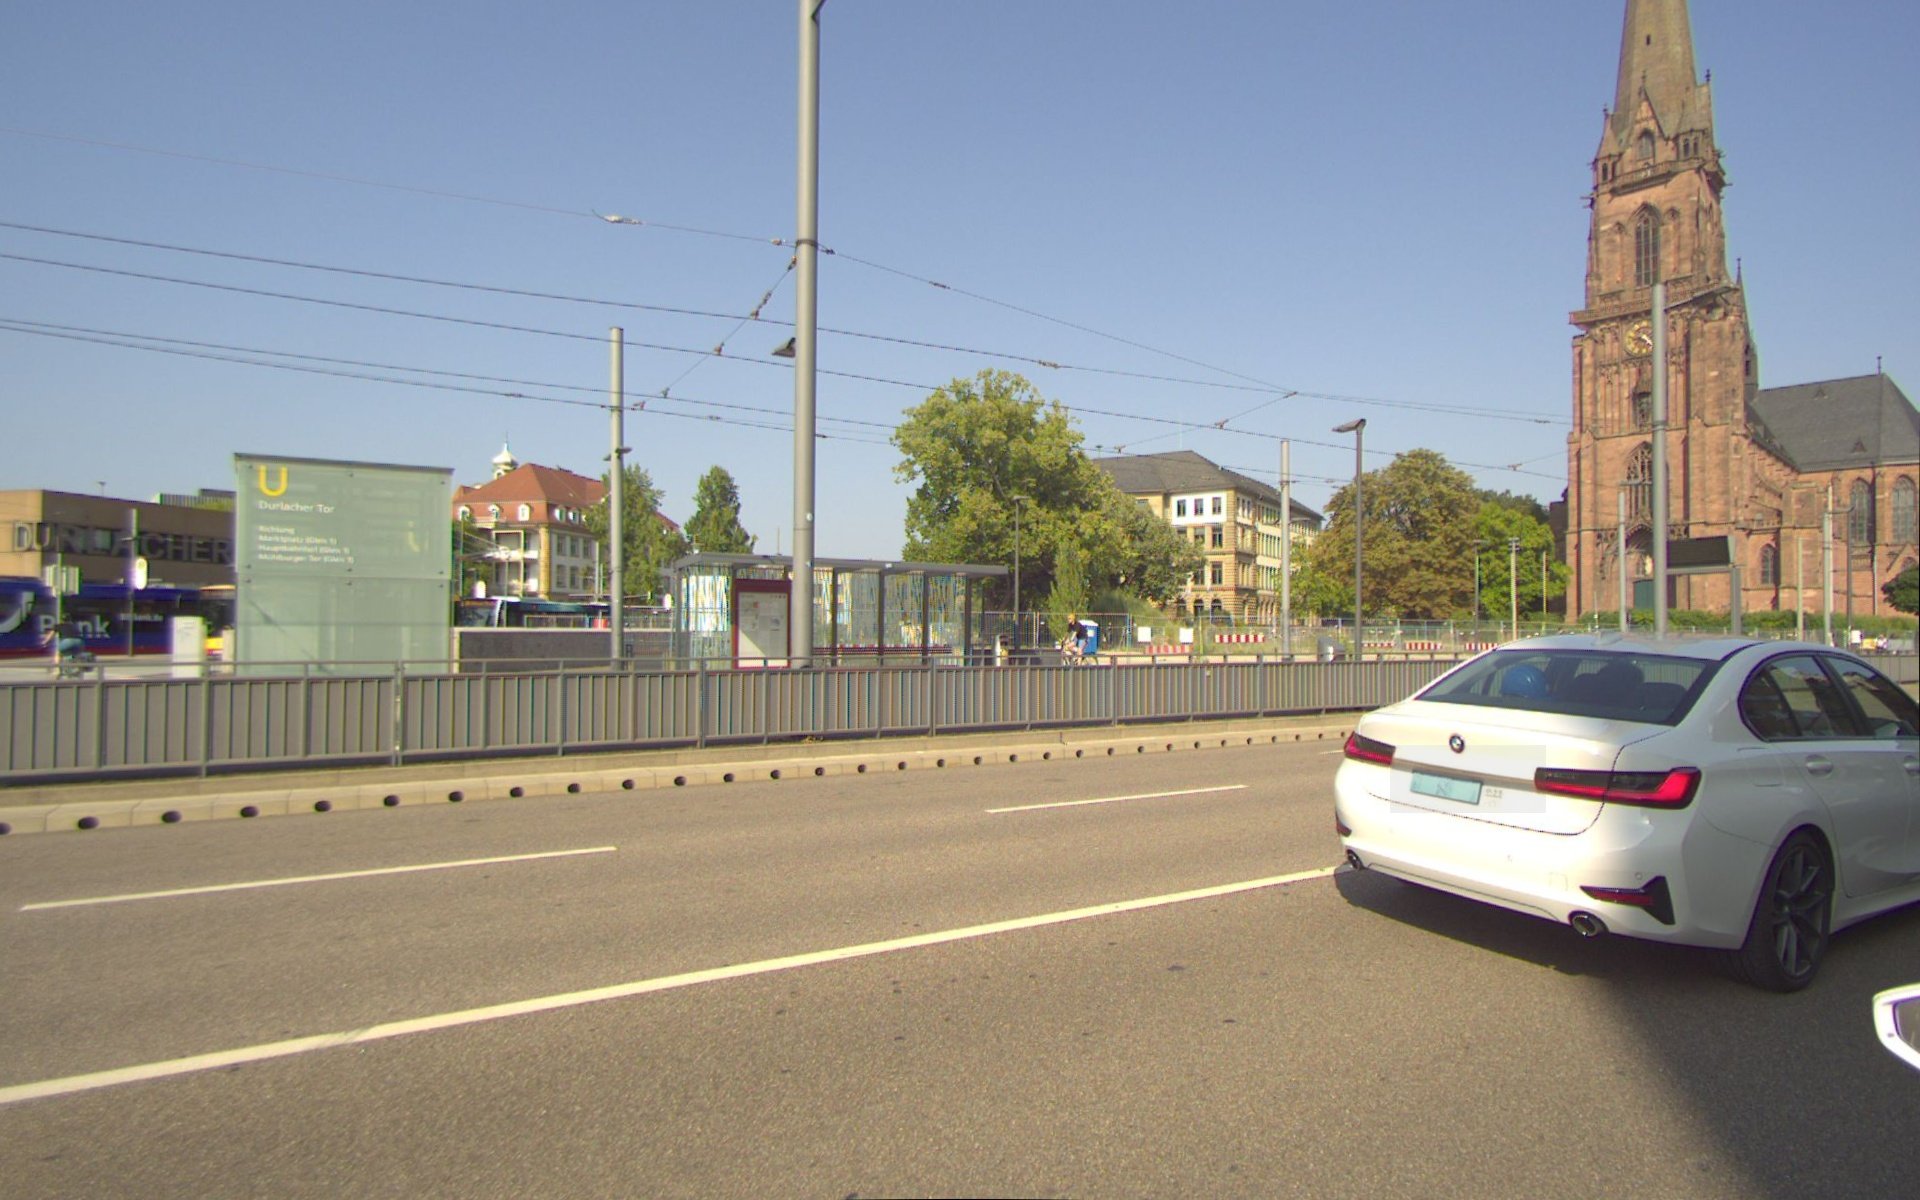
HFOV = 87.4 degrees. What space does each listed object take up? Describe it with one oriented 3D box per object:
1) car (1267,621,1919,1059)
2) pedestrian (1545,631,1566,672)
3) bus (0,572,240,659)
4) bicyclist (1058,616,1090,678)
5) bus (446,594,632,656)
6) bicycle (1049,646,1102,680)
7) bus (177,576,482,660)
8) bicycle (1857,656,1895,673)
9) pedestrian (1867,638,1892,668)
[{"bbox_3d":[4.032,0.878,5.411,4.717,1.446,1.801,1,0,-30],"label":"car"},{"bbox_3d":[25.519,2.209,43.016,0.657,1.723,0.514,1,-2,-31],"label":"pedestrian"},{"bbox_3d":[-38.665,0.737,43.481,3.160,3.464,13.326,0,-2,13],"label":"bus"},{"bbox_3d":[3.314,1.352,29.226,0.809,1.770,0.484,1,-2,-30],"label":"bicyclist"},{"bbox_3d":[-24.240,1.531,59.176,3.159,3.220,13.327,0,-2,11],"label":"bus"},{"bbox_3d":[3.391,1.823,29.347,1.675,0.966,0.348,1,-2,-30],"label":"bicycle"},{"bbox_3d":[-27.343,0.901,45.057,3.159,3.220,13.327,0,-2,12],"label":"bus"},{"bbox_3d":[54.345,3.811,59.620,0.470,0.991,1.762,1,-2,-8],"label":"bicycle"},{"bbox_3d":[54.359,3.127,59.377,0.591,1.701,0.918,0,-2,-9],"label":"pedestrian"}]
